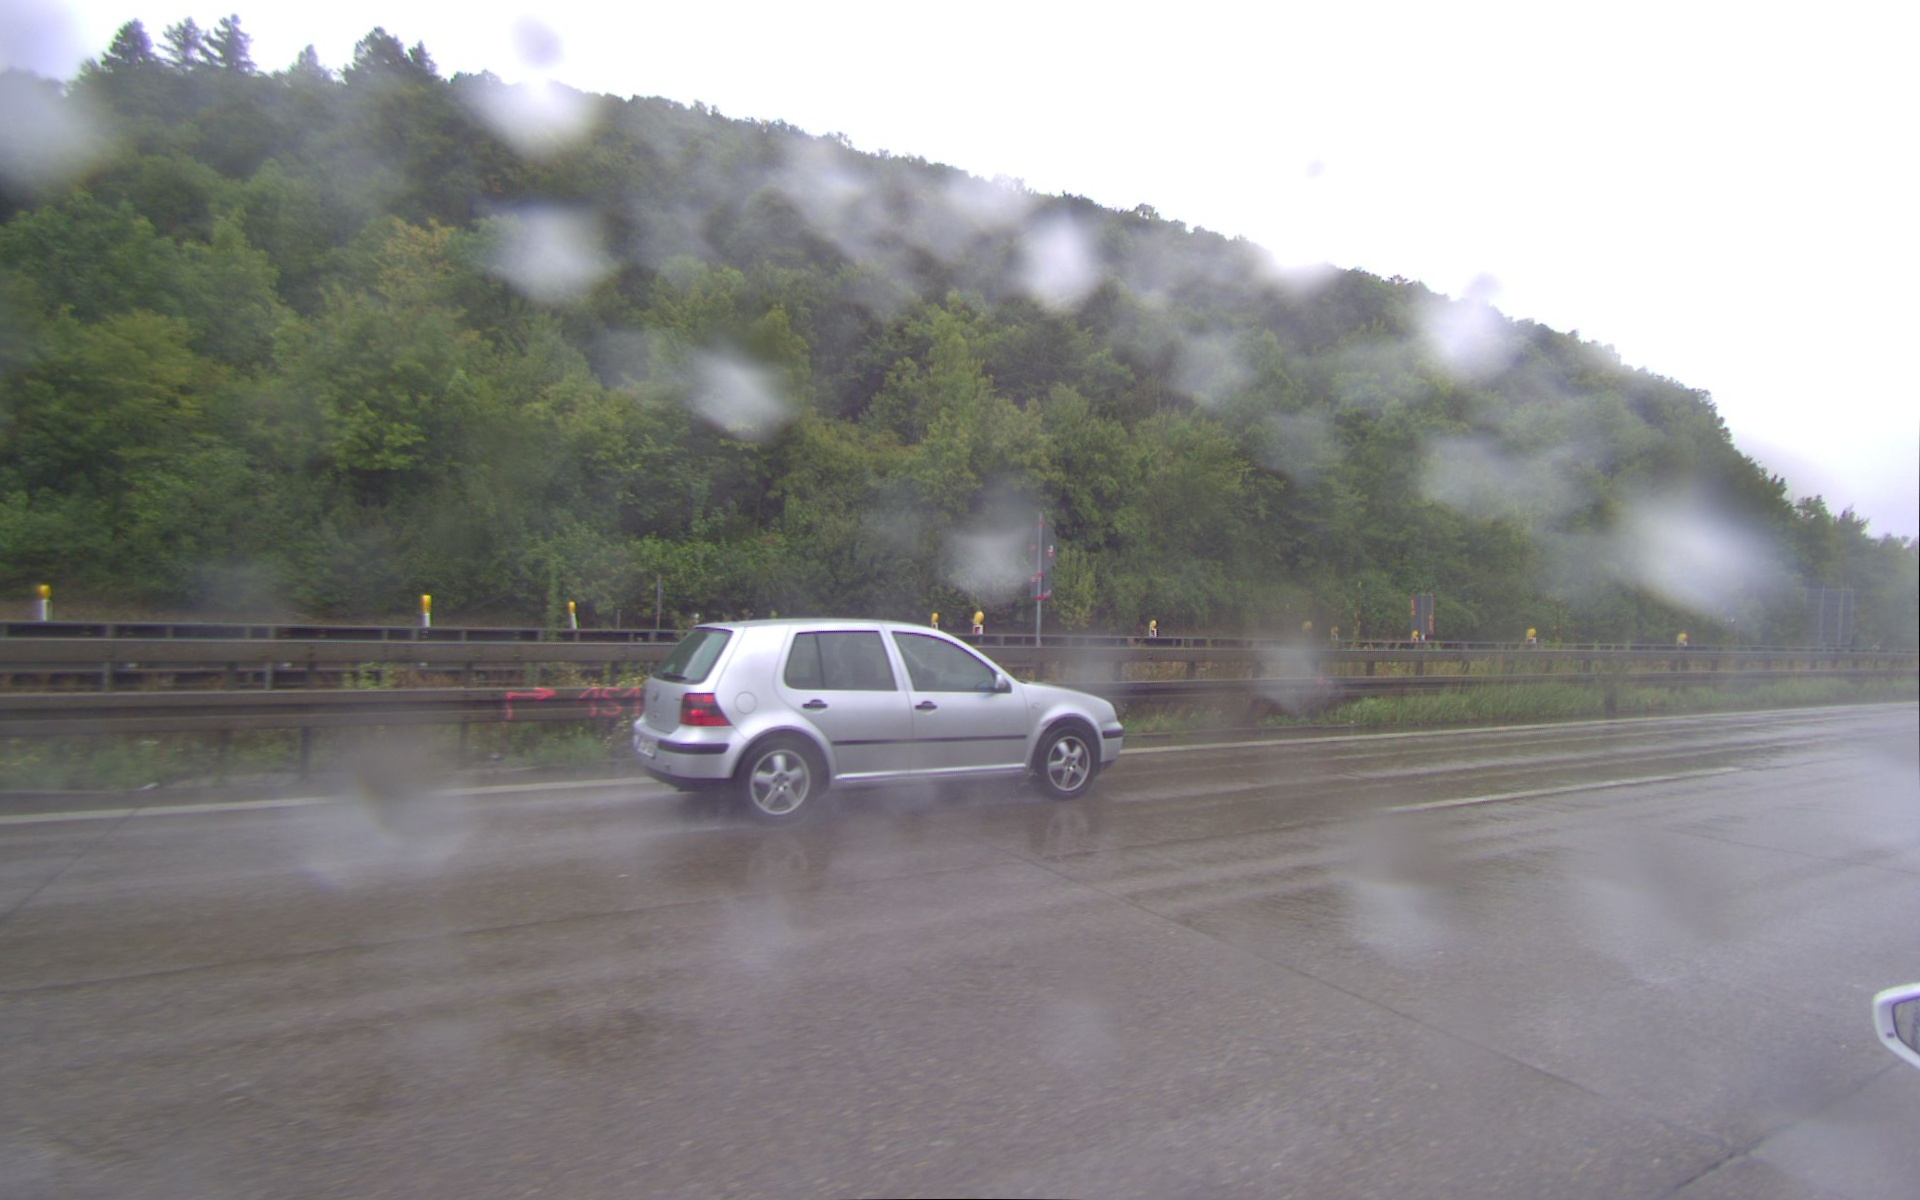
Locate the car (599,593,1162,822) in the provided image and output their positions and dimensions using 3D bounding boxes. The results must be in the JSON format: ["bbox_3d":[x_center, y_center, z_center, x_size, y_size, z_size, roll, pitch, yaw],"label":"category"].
[{"bbox_3d":[-0.544,0.742,8.232,4.300,1.453,1.658,2,0,-31],"label":"car"}]
